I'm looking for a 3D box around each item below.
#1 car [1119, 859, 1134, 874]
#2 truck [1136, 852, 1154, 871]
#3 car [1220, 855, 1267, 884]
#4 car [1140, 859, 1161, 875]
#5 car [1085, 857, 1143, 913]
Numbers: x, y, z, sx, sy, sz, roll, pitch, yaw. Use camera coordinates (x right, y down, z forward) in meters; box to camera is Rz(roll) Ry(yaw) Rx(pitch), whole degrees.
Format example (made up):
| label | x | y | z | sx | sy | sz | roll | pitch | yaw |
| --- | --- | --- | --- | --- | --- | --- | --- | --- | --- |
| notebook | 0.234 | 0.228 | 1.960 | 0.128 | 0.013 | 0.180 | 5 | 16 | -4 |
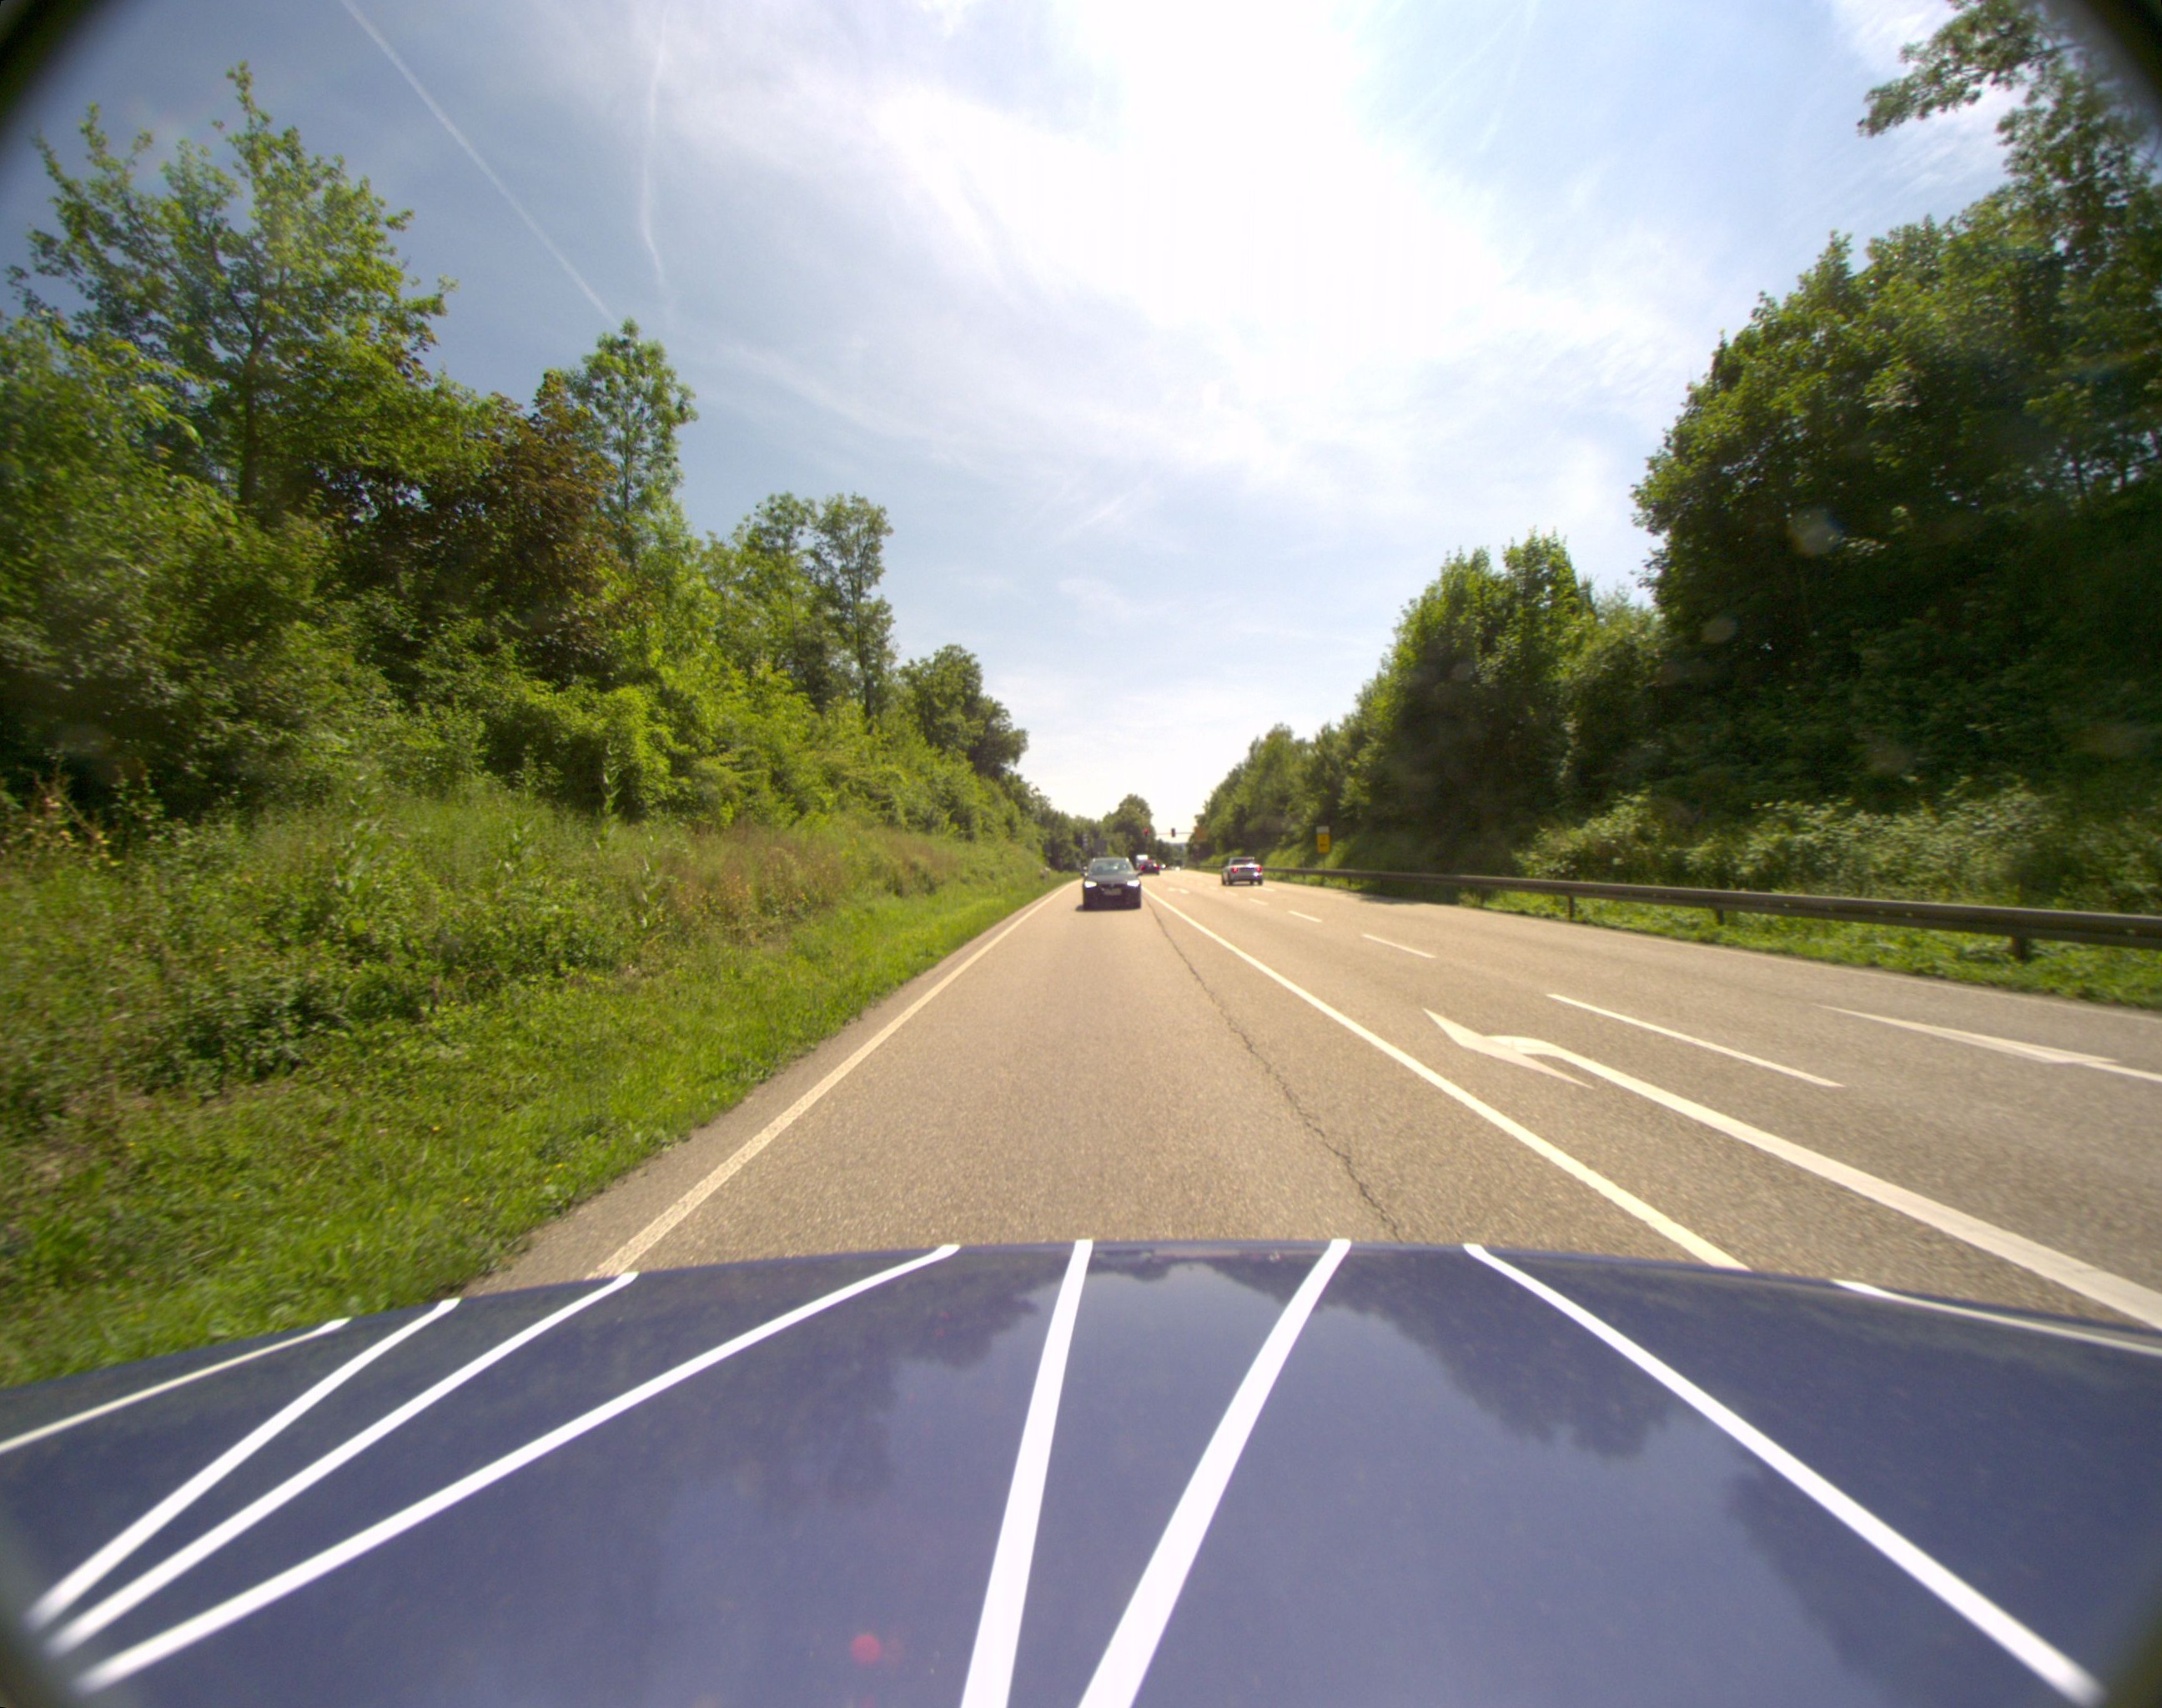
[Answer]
| label | x | y | z | sx | sy | sz | roll | pitch | yaw |
| --- | --- | --- | --- | --- | --- | --- | --- | --- | --- |
| car | 6.788 | 1.860 | 113.081 | 1.998 | 2.001 | 4.002 | -4 | -1 | 5 |
| truck | 13.998 | 1.523 | 165.128 | 2.838 | 3.794 | 8.456 | -4 | 1 | 11 |
| car | 8.393 | 0.772 | 39.525 | 1.810 | 1.427 | 3.872 | -1 | 0 | 3 |
| car | 6.656 | 1.220 | 73.021 | 1.808 | 1.444 | 4.388 | -2 | 0 | 4 |
| car | 1.038 | 0.902 | 23.685 | 1.626 | 1.535 | 4.001 | -2 | 0 | 3 |
